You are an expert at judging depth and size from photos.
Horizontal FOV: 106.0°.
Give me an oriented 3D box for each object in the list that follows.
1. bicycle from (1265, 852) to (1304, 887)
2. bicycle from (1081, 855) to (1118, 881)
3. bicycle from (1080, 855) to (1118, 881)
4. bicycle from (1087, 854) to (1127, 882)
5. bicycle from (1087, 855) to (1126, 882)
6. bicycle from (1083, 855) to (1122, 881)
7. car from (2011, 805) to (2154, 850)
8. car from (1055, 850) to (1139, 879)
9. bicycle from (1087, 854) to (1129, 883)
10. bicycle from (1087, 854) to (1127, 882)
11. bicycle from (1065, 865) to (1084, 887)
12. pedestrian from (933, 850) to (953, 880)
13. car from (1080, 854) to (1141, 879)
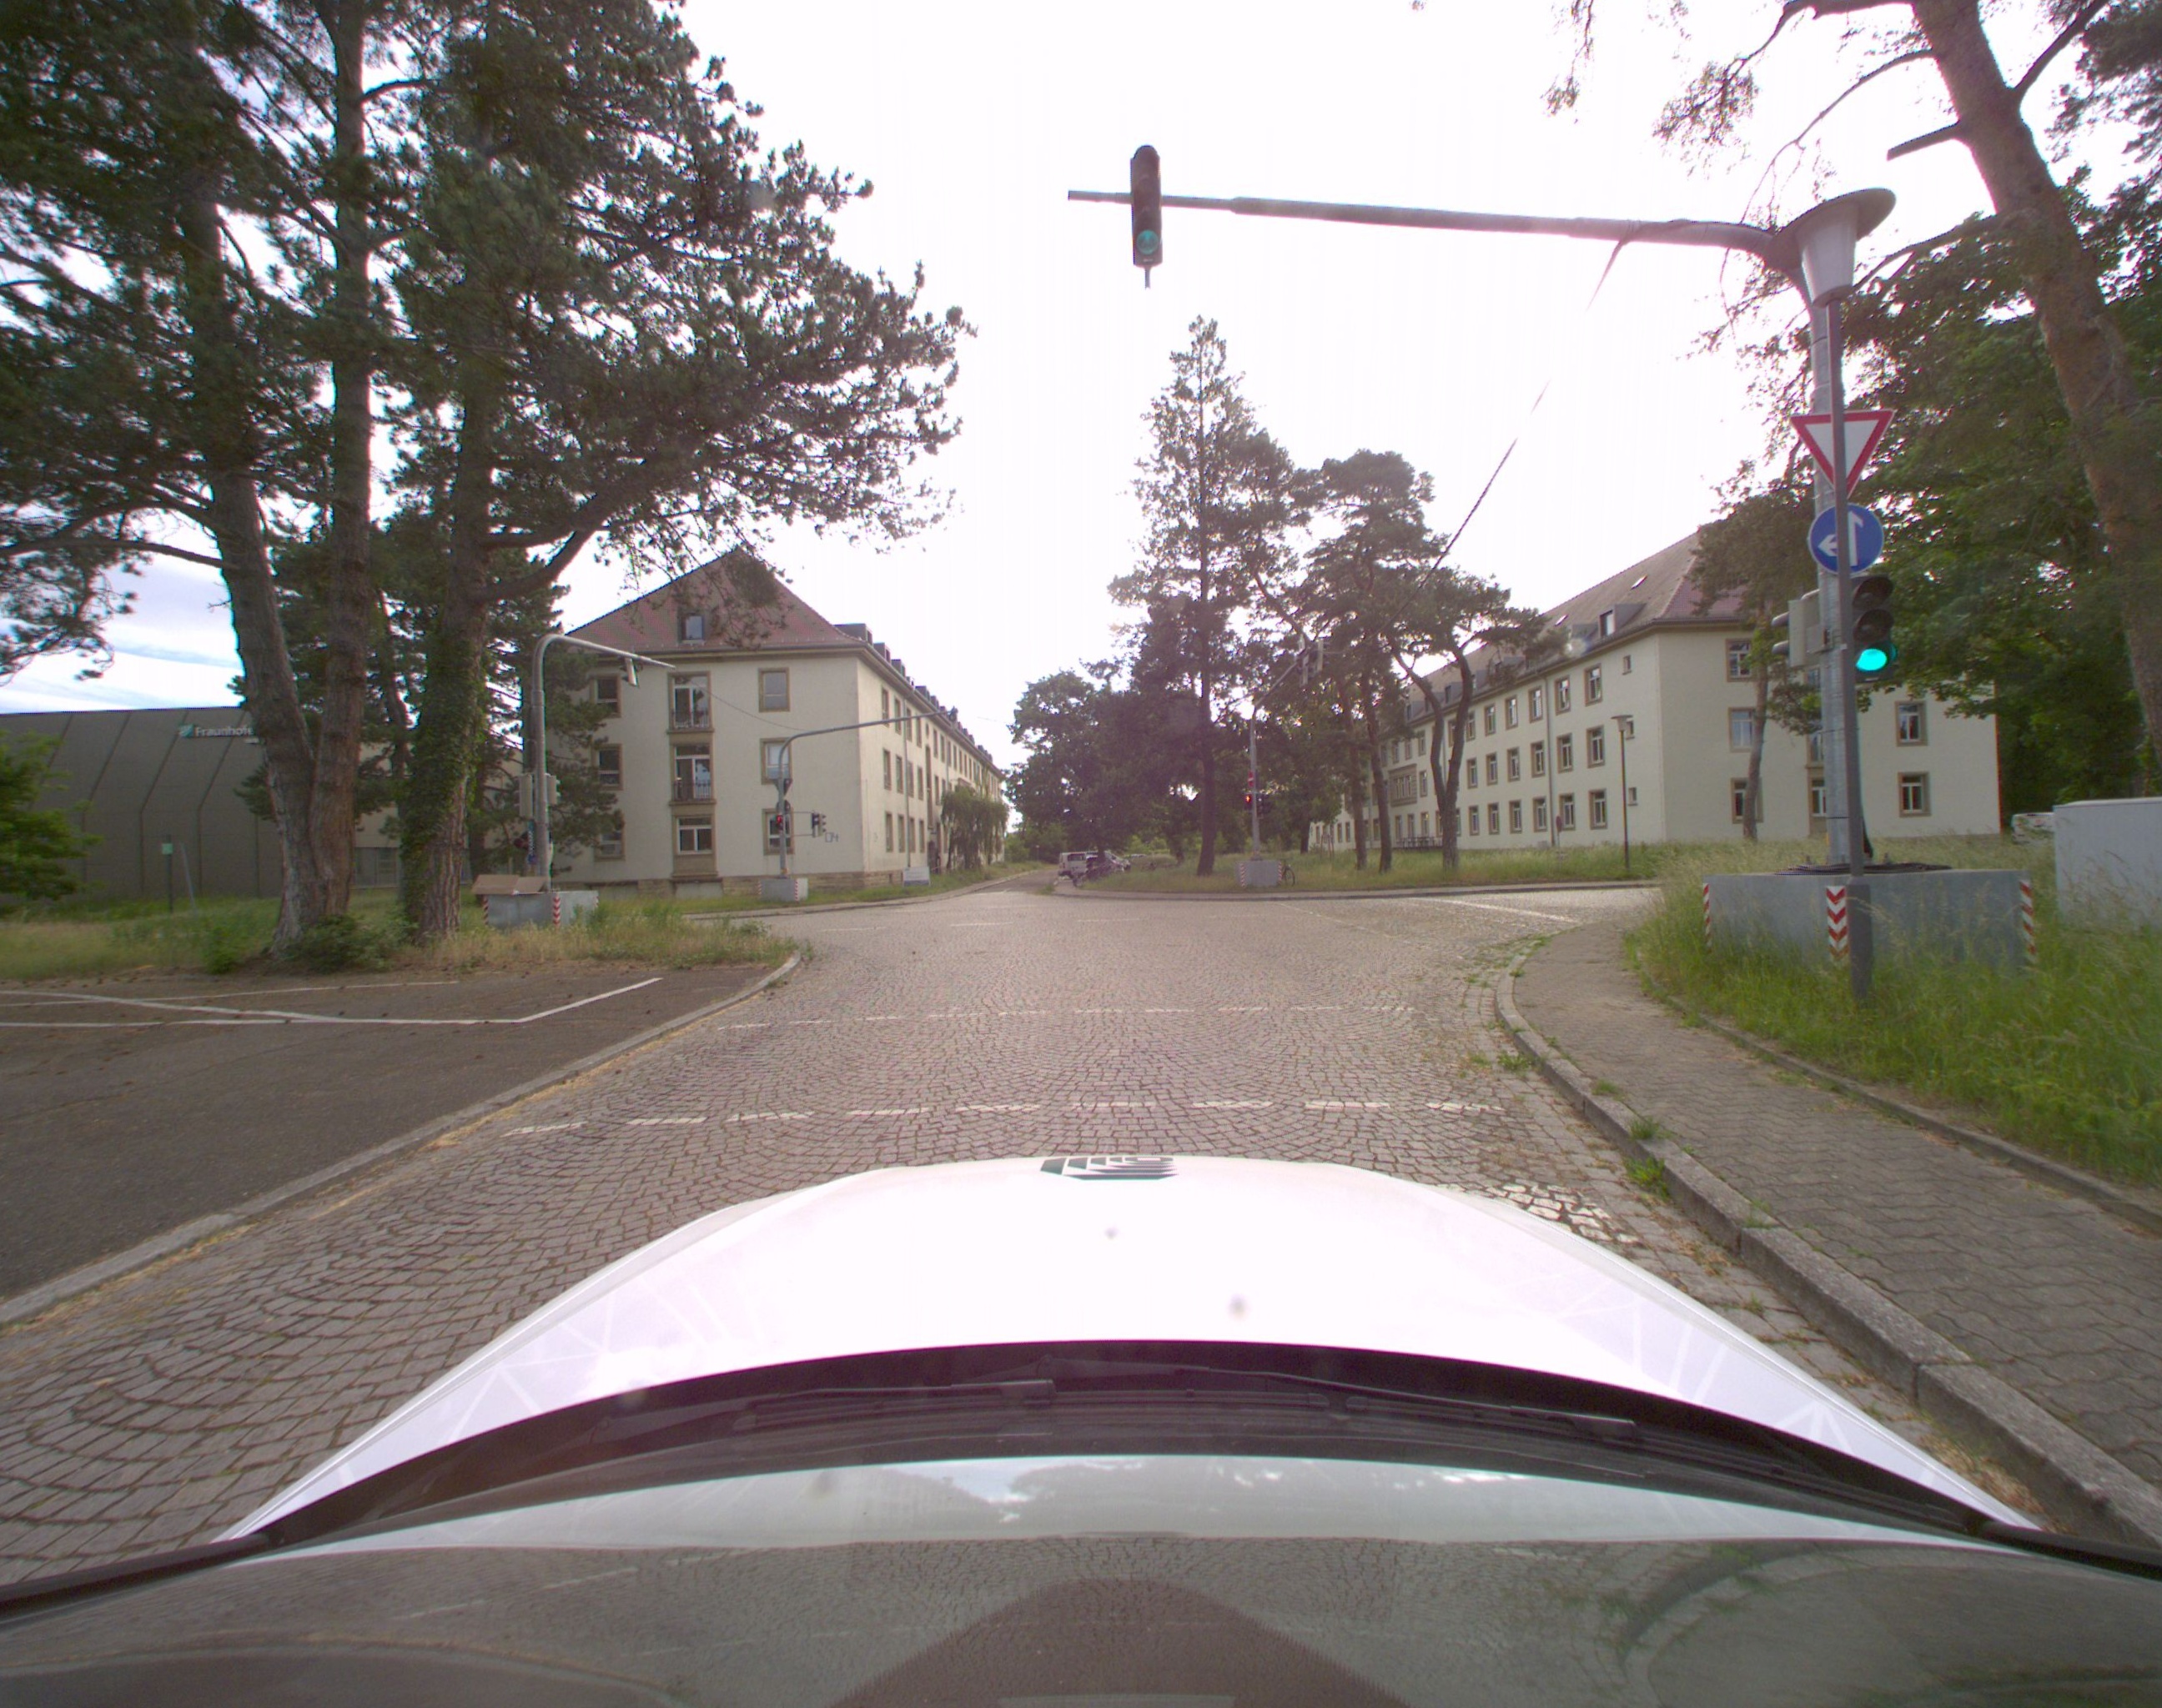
[{"bbox_3d":[7.298,0.546,29.344,0.906,1.177,1.874,-2,0,0],"label":"bicycle"},{"bbox_3d":[1.040,0.781,46.017,2.062,1.378,0.620,-2,-1,1],"label":"bicycle"},{"bbox_3d":[1.017,0.773,45.269,2.062,1.378,0.620,-2,-1,1],"label":"bicycle"},{"bbox_3d":[1.356,0.748,42.935,2.062,1.378,0.620,-2,-1,1],"label":"bicycle"},{"bbox_3d":[1.375,0.757,43.731,2.062,1.378,0.620,-2,-1,1],"label":"bicycle"},{"bbox_3d":[1.159,0.764,44.531,2.062,1.378,0.620,-2,-1,1],"label":"bicycle"},{"bbox_3d":[56.341,-1.471,45.883,5.161,2.288,2.214,-2,0,1],"label":"car"},{"bbox_3d":[1.147,0.743,59.532,5.696,1.910,2.221,-2,0,-12],"label":"car"},{"bbox_3d":[1.387,0.735,41.639,2.062,1.378,0.620,-2,-1,1],"label":"bicycle"},{"bbox_3d":[1.352,0.742,42.310,2.062,1.378,0.620,-2,-1,1],"label":"bicycle"},{"bbox_3d":[-0.316,1.059,39.846,0.614,0.963,2.081,-2,0,8],"label":"bicycle"},{"bbox_3d":[-9.662,0.773,57.184,1.081,2.013,1.023,-2,-1,6],"label":"pedestrian"},{"bbox_3d":[2.000,0.847,56.157,3.925,1.544,1.997,-2,0,-4],"label":"car"}]
